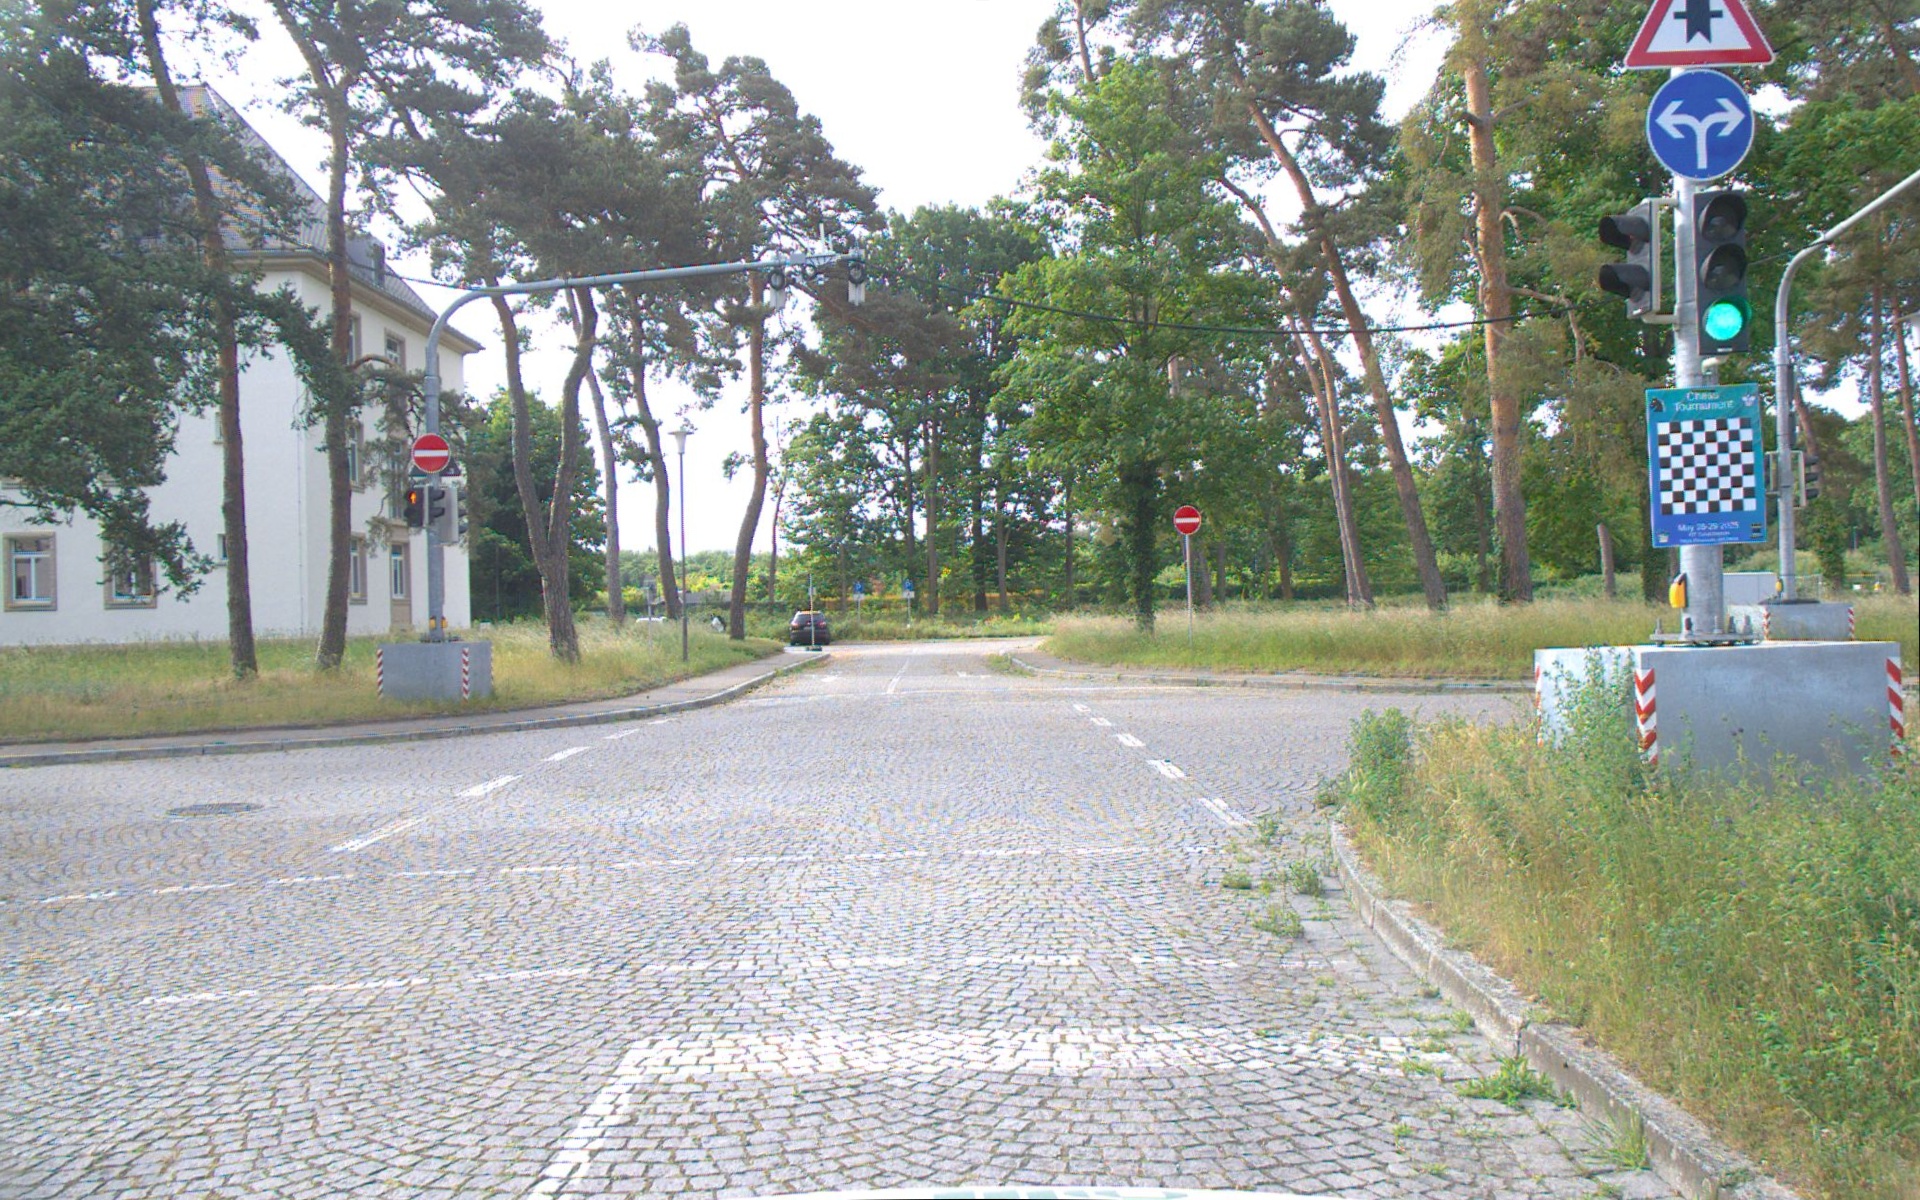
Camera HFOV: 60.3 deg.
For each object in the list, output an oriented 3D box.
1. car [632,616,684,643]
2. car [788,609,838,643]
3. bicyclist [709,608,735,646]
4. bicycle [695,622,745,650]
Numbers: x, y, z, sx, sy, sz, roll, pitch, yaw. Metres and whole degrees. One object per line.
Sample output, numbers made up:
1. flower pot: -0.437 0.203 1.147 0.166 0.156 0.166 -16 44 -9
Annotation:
1. car: -14.175 1.365 77.769 1.654 1.176 4.000 -2 0 0
2. car: -6.799 1.174 76.731 1.952 1.534 4.000 0 0 0
3. bicyclist: -9.896 1.108 68.856 0.955 1.537 0.807 -2 0 -4
4. bicycle: -9.982 1.491 68.841 1.947 1.114 0.809 -2 0 -5
